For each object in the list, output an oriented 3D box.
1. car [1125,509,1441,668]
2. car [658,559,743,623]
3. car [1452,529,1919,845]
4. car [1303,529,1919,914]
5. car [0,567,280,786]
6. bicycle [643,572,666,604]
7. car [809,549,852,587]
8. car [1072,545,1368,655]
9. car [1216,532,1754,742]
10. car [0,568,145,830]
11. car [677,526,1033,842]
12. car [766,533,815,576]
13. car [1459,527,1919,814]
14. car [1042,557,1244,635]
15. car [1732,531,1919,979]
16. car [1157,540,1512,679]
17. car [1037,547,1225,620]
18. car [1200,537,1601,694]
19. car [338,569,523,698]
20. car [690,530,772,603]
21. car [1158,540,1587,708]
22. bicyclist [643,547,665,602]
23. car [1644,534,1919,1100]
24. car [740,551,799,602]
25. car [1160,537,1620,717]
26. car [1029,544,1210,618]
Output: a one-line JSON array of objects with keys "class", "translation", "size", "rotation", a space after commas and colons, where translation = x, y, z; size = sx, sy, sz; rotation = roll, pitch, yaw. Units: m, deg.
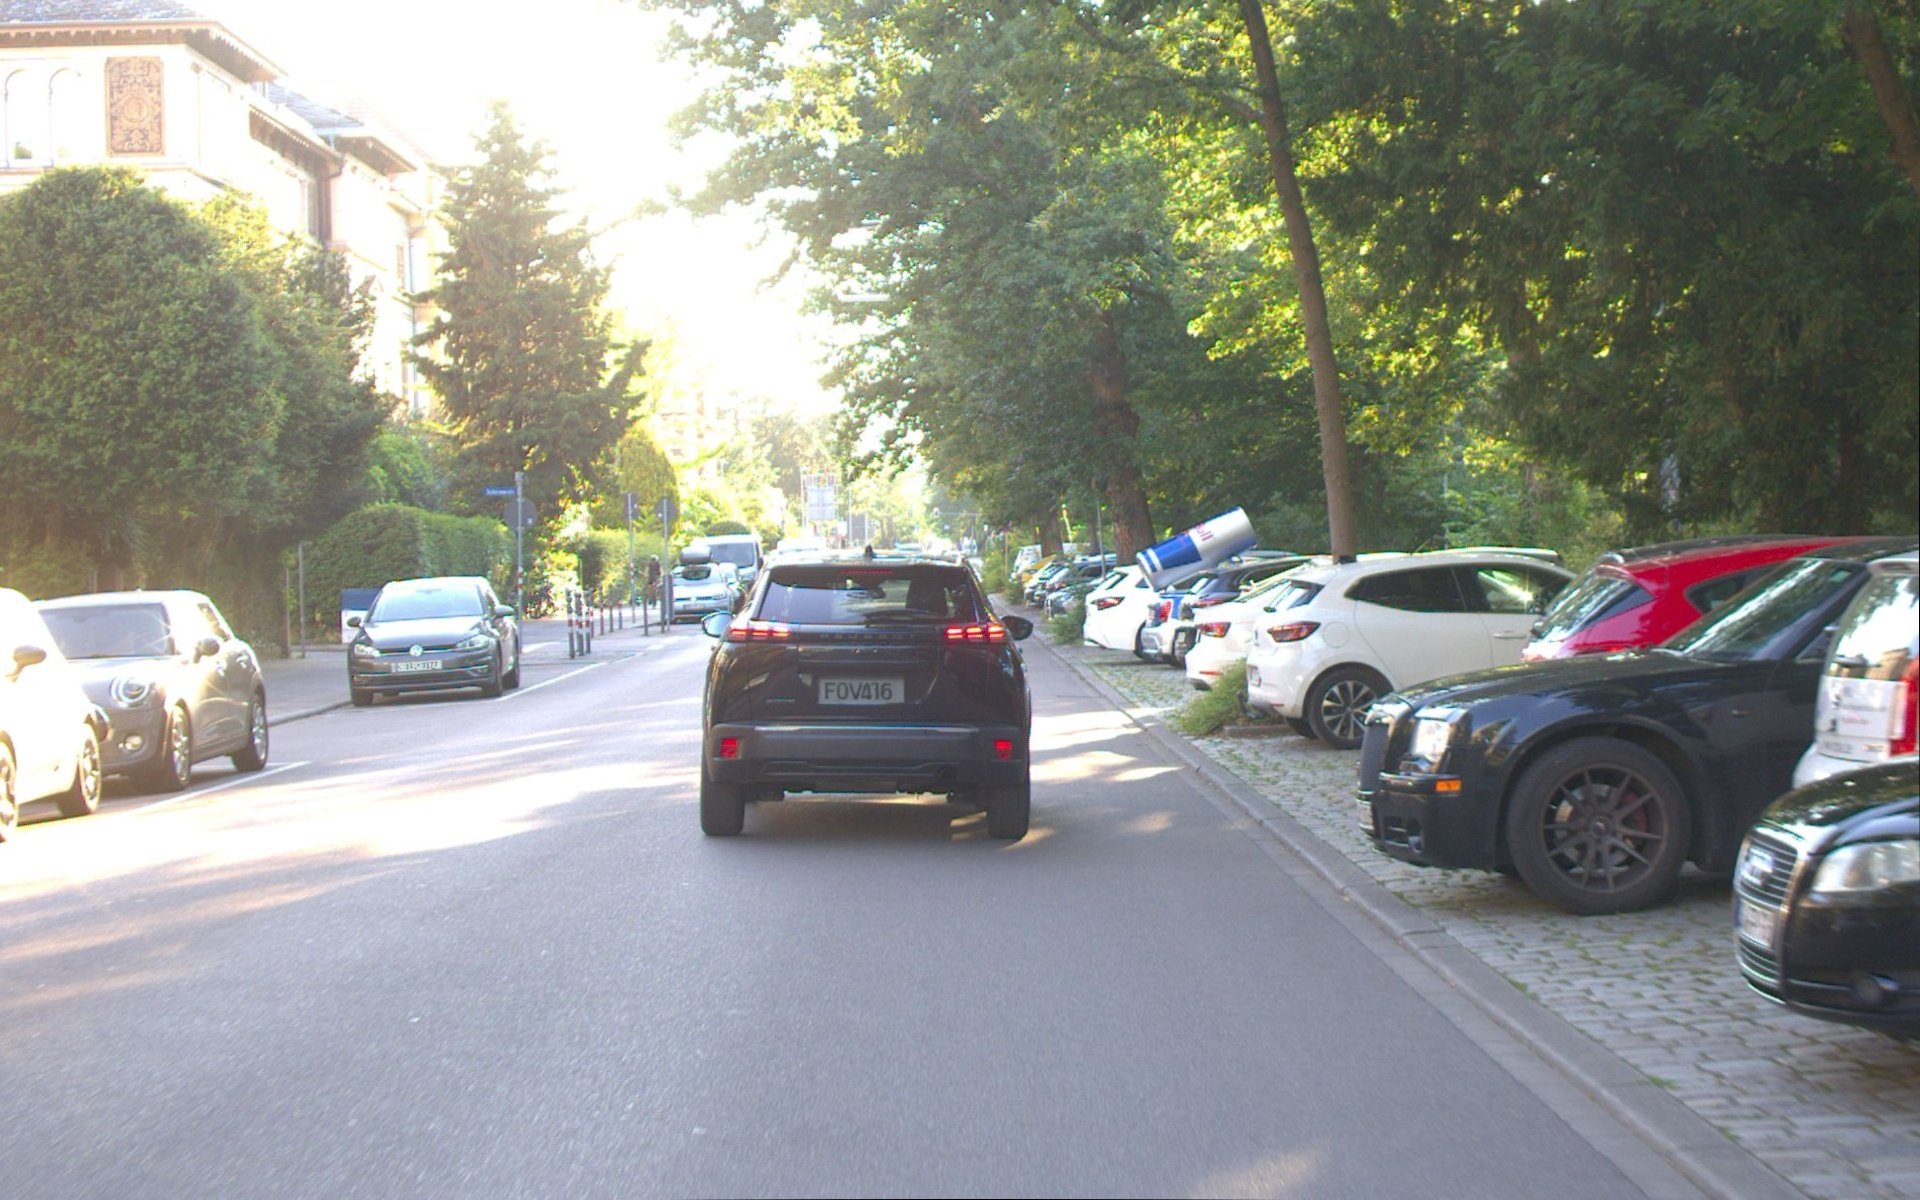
[{"class": "car", "translation": [4.334, -0.162, 46.500], "size": [3.986, 2.082, 1.758], "rotation": [0, 0, -5]}, {"class": "car", "translation": [-6.556, -0.250, 87.242], "size": [1.899, 1.568, 4.000], "rotation": [0, 1, -1]}, {"class": "car", "translation": [4.608, 0.373, 17.483], "size": [3.807, 1.444, 1.877], "rotation": [-2, 0, -4]}, {"class": "car", "translation": [3.742, 0.433, 14.683], "size": [4.242, 1.444, 2.022], "rotation": [-2, 0, -2]}, {"class": "car", "translation": [-6.229, 0.508, 25.332], "size": [1.613, 1.461, 4.036], "rotation": [-1, 0, 0]}, {"class": "bicycle", "translation": [-9.901, -0.401, 111.410], "size": [0.691, 1.012, 2.049], "rotation": [0, 1, -3]}, {"class": "car", "translation": [-6.296, -1.557, 167.244], "size": [1.993, 1.809, 4.000], "rotation": [0, 1, -1]}, {"class": "car", "translation": [3.693, -0.013, 49.268], "size": [3.986, 1.520, 1.758], "rotation": [0, 0, -5]}, {"class": "car", "translation": [4.052, 0.271, 26.931], "size": [3.807, 1.444, 1.826], "rotation": [-2, 0, -4]}, {"class": "car", "translation": [-6.190, 0.559, 20.626], "size": [1.613, 1.461, 4.036], "rotation": [-1, 0, 0]}, {"class": "car", "translation": [-0.591, 0.399, 19.641], "size": [1.771, 1.563, 4.109], "rotation": [2, 1, -2]}, {"class": "car", "translation": [-7.314, -1.958, 148.714], "size": [1.993, 1.809, 4.000], "rotation": [0, 1, -1]}, {"class": "car", "translation": [5.006, 0.351, 19.992], "size": [3.807, 1.505, 1.826], "rotation": [-2, 0, -4]}, {"class": "car", "translation": [3.642, -0.095, 69.013], "size": [3.987, 1.520, 1.758], "rotation": [0, 0, 1]}, {"class": "car", "translation": [4.795, 0.431, 11.964], "size": [3.808, 1.444, 1.826], "rotation": [-2, 0, 3]}, {"class": "car", "translation": [4.496, 0.098, 41.586], "size": [3.986, 1.619, 1.758], "rotation": [0, 0, -5]}, {"class": "car", "translation": [3.672, -0.361, 74.409], "size": [3.987, 1.520, 1.758], "rotation": [0, 0, 1]}, {"class": "car", "translation": [4.702, 0.150, 37.027], "size": [3.986, 1.619, 1.758], "rotation": [0, 0, -5]}, {"class": "car", "translation": [-6.412, 0.372, 41.965], "size": [1.752, 1.409, 3.765], "rotation": [-3, 1, -2]}, {"class": "car", "translation": [-6.496, -0.951, 97.864], "size": [1.993, 2.007, 4.000], "rotation": [0, 1, 1]}, {"class": "car", "translation": [4.092, 0.223, 34.476], "size": [3.986, 1.619, 1.758], "rotation": [0, 0, -5]}, {"class": "bicyclist", "translation": [-9.920, -0.832, 111.495], "size": [0.693, 1.786, 0.773], "rotation": [0, 0, -3]}, {"class": "car", "translation": [4.164, 0.485, 9.622], "size": [4.157, 1.444, 1.731], "rotation": [-2, 0, 3]}, {"class": "car", "translation": [-6.940, -0.871, 125.518], "size": [1.993, 1.809, 4.000], "rotation": [0, 1, -1]}, {"class": "car", "translation": [3.982, 0.233, 32.204], "size": [3.986, 1.619, 1.758], "rotation": [0, 0, -5]}, {"class": "car", "translation": [3.537, -0.420, 76.879], "size": [3.987, 1.618, 1.758], "rotation": [0, 0, 1]}]
